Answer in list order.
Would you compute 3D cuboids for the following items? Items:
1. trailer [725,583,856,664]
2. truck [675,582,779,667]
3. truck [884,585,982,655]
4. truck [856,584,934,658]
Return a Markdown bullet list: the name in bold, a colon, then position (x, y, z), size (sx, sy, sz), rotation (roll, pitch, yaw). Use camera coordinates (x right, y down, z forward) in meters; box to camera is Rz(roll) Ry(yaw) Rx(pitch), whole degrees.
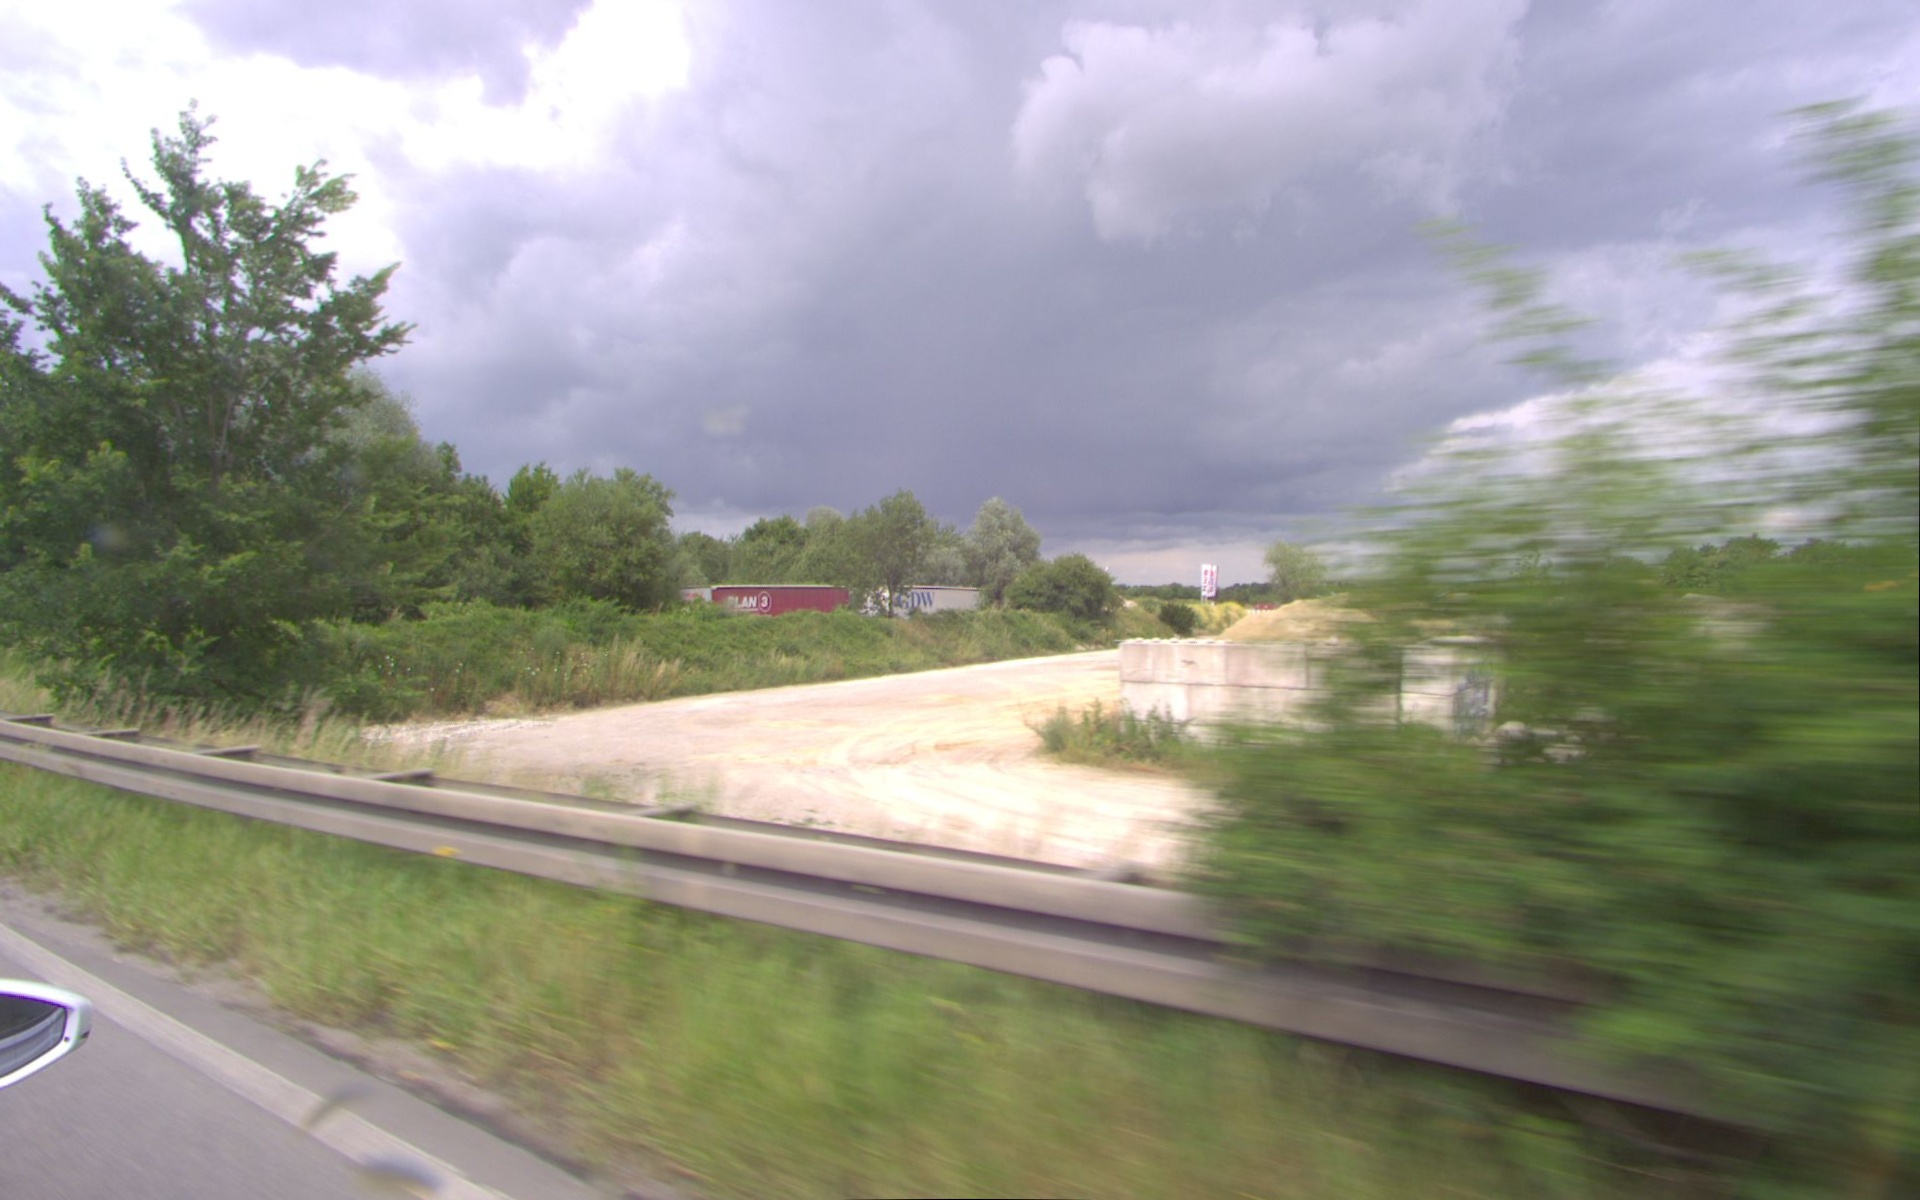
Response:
- **trailer**: position (-10.877, 1.409, 65.763), size (2.626, 4.899, 10.238), rotation (-1, 0, 29)
- **truck**: position (-13.901, 1.430, 60.239), size (2.626, 4.850, 6.137), rotation (-1, 0, 29)
- **truck**: position (-1.831, 1.442, 75.134), size (2.626, 4.915, 10.135), rotation (-1, 0, 29)
- **truck**: position (-4.479, 1.443, 70.316), size (2.626, 4.954, 5.939), rotation (-1, 0, 29)
